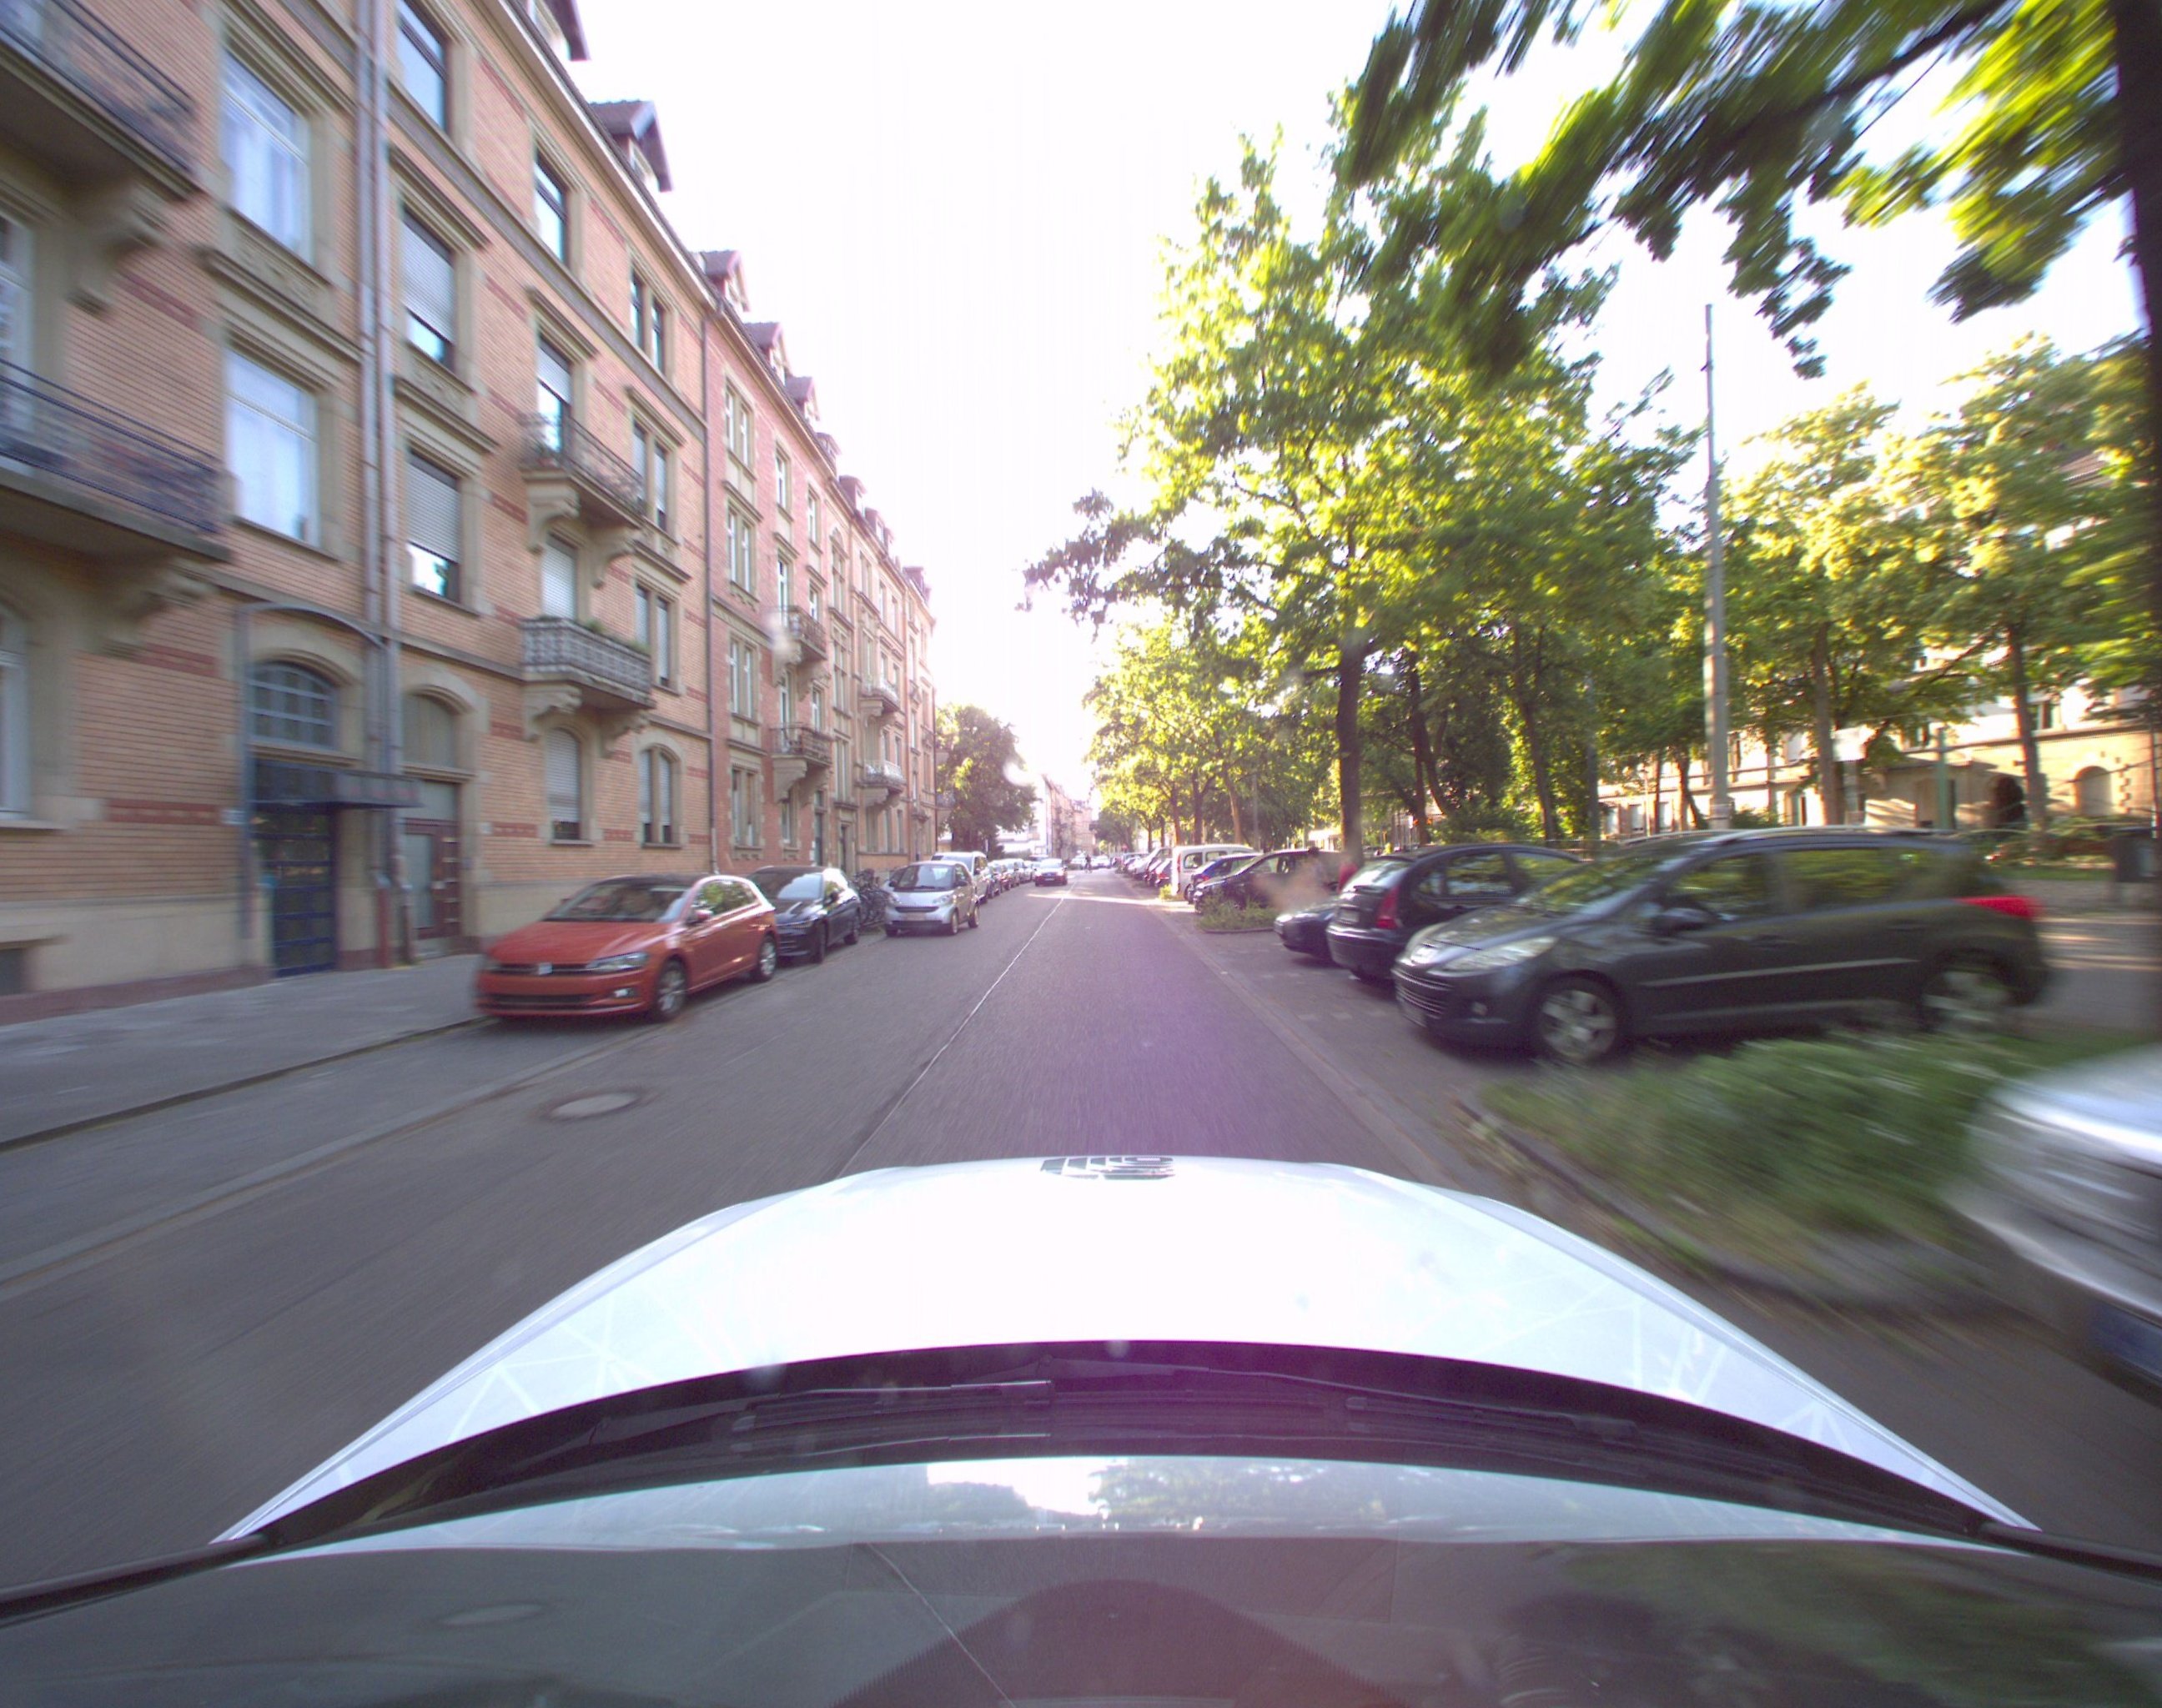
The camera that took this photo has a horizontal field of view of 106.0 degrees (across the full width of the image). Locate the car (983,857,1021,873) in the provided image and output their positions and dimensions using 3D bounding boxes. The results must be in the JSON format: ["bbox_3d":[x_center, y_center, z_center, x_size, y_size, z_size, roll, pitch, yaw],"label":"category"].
[{"bbox_3d":[-8.804,1.289,91.164,3.971,1.706,2.001,-1,-2,2],"label":"car"}]

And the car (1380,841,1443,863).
[{"bbox_3d":[27.374,-0.159,67.484,4.657,1.684,2.011,-1,-2,24],"label":"car"}]

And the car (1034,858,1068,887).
[{"bbox_3d":[-1.656,1.000,46.160,1.663,1.464,4.000,-3,0,0],"label":"car"}]

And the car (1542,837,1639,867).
[{"bbox_3d":[30.492,-0.088,48.928,4.657,1.684,2.011,-1,-2,24],"label":"car"}]

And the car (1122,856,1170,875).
[{"bbox_3d":[5.682,1.028,71.250,3.976,1.563,1.857,0,-2,-2],"label":"car"}]

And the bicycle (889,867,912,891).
[{"bbox_3d":[-8.588,1.193,38.762,0.703,1.147,1.888,0,-2,-2],"label":"bicycle"}]

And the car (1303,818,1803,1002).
[{"bbox_3d":[4.898,0.543,8.865,4.390,1.591,1.835,-2,-1,-4],"label":"car"}]

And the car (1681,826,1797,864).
[{"bbox_3d":[32.258,-0.414,40.052,3.953,1.684,2.010,-1,-2,20],"label":"car"}]

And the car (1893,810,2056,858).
[{"bbox_3d":[33.993,-0.743,31.069,3.973,1.684,2.000,-1,-2,1],"label":"car"}]

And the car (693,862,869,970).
[{"bbox_3d":[-4.860,0.916,13.841,1.744,1.546,4.144,0,-1,-5],"label":"car"}]

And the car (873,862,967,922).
[{"bbox_3d":[-4.524,1.018,23.455,1.668,1.454,4.212,-3,0,2],"label":"car"}]

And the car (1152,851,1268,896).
[{"bbox_3d":[4.872,0.736,31.110,4.200,1.453,1.651,-3,-1,5],"label":"car"}]

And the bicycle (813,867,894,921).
[{"bbox_3d":[-5.297,0.930,19.030,1.757,1.215,0.428,-1,-2,0],"label":"bicycle"}]

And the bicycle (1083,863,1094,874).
[{"bbox_3d":[0.754,1.466,81.126,0.641,1.100,1.936,0,-2,-11],"label":"bicycle"}]

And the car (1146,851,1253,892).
[{"bbox_3d":[4.882,0.719,34.006,4.204,1.453,1.865,-3,-1,2],"label":"car"}]

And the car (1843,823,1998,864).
[{"bbox_3d":[39.256,-0.430,38.286,1.995,1.687,4.717,0,-2,-13],"label":"car"}]

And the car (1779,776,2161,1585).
[{"bbox_3d":[4.287,0.550,1.493,4.384,1.591,1.837,-3,-1,0],"label":"car"}]

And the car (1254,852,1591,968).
[{"bbox_3d":[4.465,0.707,11.059,3.830,1.279,1.690,-2,-1,0],"label":"car"}]

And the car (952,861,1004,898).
[{"bbox_3d":[-4.326,1.031,34.661,1.664,1.486,4.000,0,0,0],"label":"car"}]

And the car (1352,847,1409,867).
[{"bbox_3d":[26.880,0.295,73.188,4.657,1.684,2.011,-1,-2,23],"label":"car"}]

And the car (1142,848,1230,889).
[{"bbox_3d":[4.980,0.664,39.083,3.972,1.691,1.860,-3,-1,2],"label":"car"}]

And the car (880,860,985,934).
[{"bbox_3d":[-3.200,0.894,17.984,1.497,1.435,2.757,-3,0,6],"label":"car"}]

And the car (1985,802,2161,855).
[{"bbox_3d":[34.376,-0.848,28.139,3.973,1.684,2.000,-1,-2,1],"label":"car"}]

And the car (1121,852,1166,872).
[{"bbox_3d":[5.651,0.734,73.931,3.976,1.794,1.857,0,-2,-2],"label":"car"}]

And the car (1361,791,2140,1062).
[{"bbox_3d":[4.678,0.498,6.267,4.382,1.591,1.838,-3,-1,2],"label":"car"}]

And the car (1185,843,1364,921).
[{"bbox_3d":[4.325,0.618,18.641,3.660,1.501,1.762,-3,-1,2],"label":"car"}]

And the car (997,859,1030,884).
[{"bbox_3d":[-4.214,1.071,51.327,1.751,1.515,4.161,-1,0,0],"label":"car"}]

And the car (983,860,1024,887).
[{"bbox_3d":[-4.273,1.062,45.332,1.697,1.429,3.880,1,0,3],"label":"car"}]

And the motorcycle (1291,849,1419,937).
[{"bbox_3d":[4.764,0.678,14.322,1.853,1.462,1.264,-1,-2,2],"label":"motorcycle"}]

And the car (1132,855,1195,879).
[{"bbox_3d":[5.399,0.879,53.635,3.976,1.548,1.857,0,-2,-2],"label":"car"}]

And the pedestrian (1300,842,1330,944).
[{"bbox_3d":[3.727,0.609,12.957,0.377,1.584,0.522,-1,2,20],"label":"pedestrian"}]

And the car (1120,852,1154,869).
[{"bbox_3d":[6.885,0.805,99.881,3.960,2.014,2.006,-1,-2,12],"label":"car"}]

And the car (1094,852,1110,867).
[{"bbox_3d":[2.599,0.677,100.292,1.771,1.674,4.490,-1,0,3],"label":"car"}]

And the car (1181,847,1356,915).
[{"bbox_3d":[4.782,0.672,21.153,4.070,1.442,1.760,-3,-1,-2],"label":"car"}]

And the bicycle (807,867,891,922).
[{"bbox_3d":[-5.257,0.912,18.518,1.757,1.215,0.464,-1,-2,0],"label":"bicycle"}]

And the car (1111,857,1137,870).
[{"bbox_3d":[6.964,1.514,131.410,3.960,2.014,2.006,-1,-2,12],"label":"car"}]

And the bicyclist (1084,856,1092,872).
[{"bbox_3d":[0.730,0.967,81.235,0.628,1.573,0.798,0,-2,-13],"label":"bicyclist"}]

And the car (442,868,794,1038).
[{"bbox_3d":[-4.882,0.925,9.355,1.748,1.464,3.999,1,0,-1],"label":"car"}]

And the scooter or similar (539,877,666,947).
[{"bbox_3d":[-9.099,1.062,15.682,0.780,1.222,2.704,-1,-2,1],"label":"scooter or similar"}]

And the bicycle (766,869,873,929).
[{"bbox_3d":[-5.454,0.929,17.088,2.091,1.215,0.439,0,-2,-15],"label":"bicycle"}]

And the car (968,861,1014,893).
[{"bbox_3d":[-4.354,1.095,39.895,1.664,1.429,4.242,-1,0,2],"label":"car"}]

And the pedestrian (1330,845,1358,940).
[{"bbox_3d":[4.342,0.630,13.421,0.377,1.517,0.522,-1,2,20],"label":"pedestrian"}]

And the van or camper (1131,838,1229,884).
[{"bbox_3d":[5.226,0.389,43.646,4.966,2.377,2.184,-1,-2,-1],"label":"van or camper"}]

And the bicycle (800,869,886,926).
[{"bbox_3d":[-5.251,0.955,18.001,1.757,1.215,0.441,-1,-2,0],"label":"bicycle"}]

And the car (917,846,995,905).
[{"bbox_3d":[-4.347,0.783,29.140,1.987,1.921,5.038,-1,-2,0],"label":"car"}]

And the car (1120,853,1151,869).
[{"bbox_3d":[7.450,0.986,110.952,3.960,2.014,2.006,-1,-2,12],"label":"car"}]

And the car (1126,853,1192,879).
[{"bbox_3d":[5.348,0.855,56.254,4.378,1.700,1.857,0,-2,-2],"label":"car"}]

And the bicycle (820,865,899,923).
[{"bbox_3d":[-5.305,0.949,19.554,1.757,1.348,0.496,-1,-2,0],"label":"bicycle"}]

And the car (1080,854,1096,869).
[{"bbox_3d":[0.938,1.028,105.978,1.987,1.838,3.999,-1,-2,0],"label":"car"}]

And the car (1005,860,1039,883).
[{"bbox_3d":[-4.010,1.193,55.864,1.748,1.466,4.272,-1,0,4],"label":"car"}]

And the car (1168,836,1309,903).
[{"bbox_3d":[5.061,0.497,26.511,4.204,1.864,1.762,-3,-1,2],"label":"car"}]

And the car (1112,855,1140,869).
[{"bbox_3d":[6.831,1.277,124.554,3.960,2.014,2.006,-1,-2,12],"label":"car"}]
